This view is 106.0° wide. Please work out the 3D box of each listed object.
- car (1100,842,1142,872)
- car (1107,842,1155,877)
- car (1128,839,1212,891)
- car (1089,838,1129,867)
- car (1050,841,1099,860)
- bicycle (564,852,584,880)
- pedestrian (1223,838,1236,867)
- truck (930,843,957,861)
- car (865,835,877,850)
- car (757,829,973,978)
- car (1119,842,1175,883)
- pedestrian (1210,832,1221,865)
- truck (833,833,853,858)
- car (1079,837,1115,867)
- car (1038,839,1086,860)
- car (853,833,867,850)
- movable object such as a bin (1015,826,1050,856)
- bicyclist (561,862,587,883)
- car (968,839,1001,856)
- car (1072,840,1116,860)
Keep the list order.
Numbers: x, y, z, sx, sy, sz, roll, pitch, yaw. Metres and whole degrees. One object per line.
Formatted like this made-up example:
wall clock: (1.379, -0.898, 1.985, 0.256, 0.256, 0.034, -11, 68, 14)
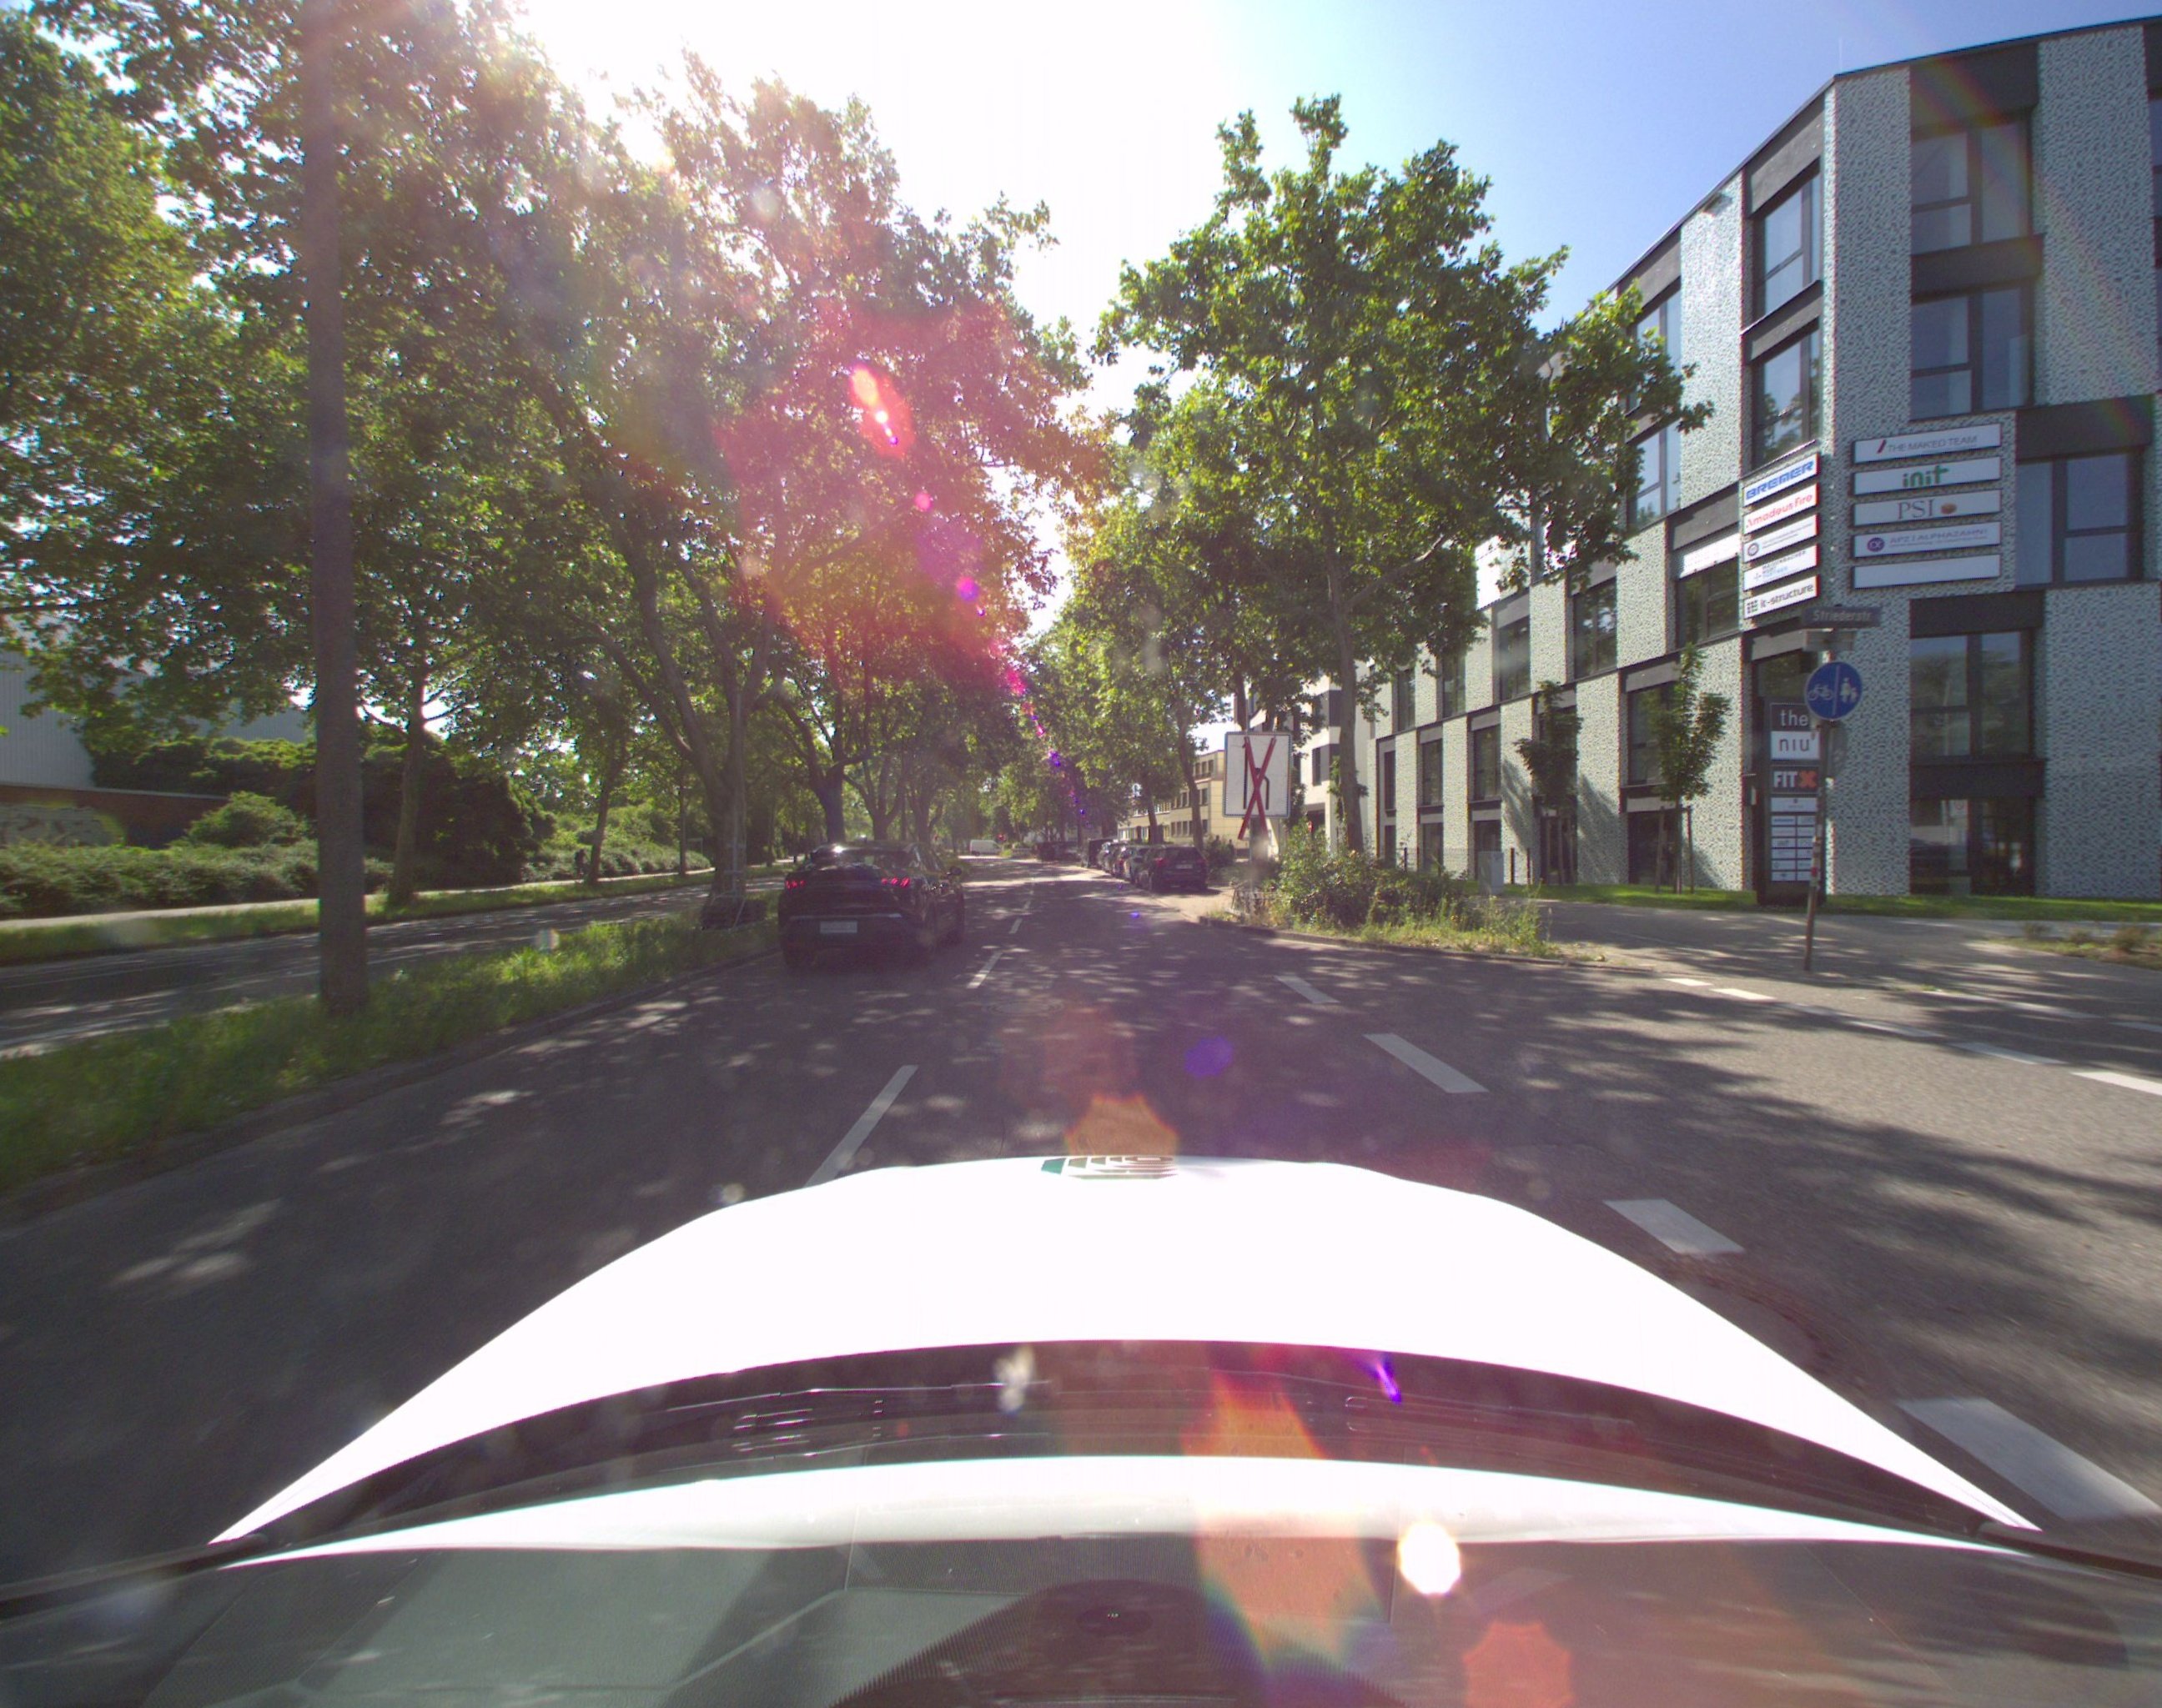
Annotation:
car: (2.100, 0.114, 43.689, 1.704, 1.487, 4.478, -1, 1, -4)
car: (2.222, 0.213, 37.240, 1.702, 1.455, 4.652, -1, 1, -2)
car: (2.791, 0.306, 26.590, 1.705, 1.487, 4.709, -2, 1, -6)
car: (1.632, -0.109, 48.887, 1.705, 1.669, 4.523, -1, 1, -7)
car: (-0.617, -0.349, 74.667, 4.117, 1.633, 1.699, -1, 1, -23)
bicycle: (-26.104, 0.618, 41.969, 0.427, 1.385, 0.954, -1, 0, -2)
pedestrian: (8.186, -0.108, 44.928, 0.612, 1.581, 0.569, -1, 0, -3)
truck: (-28.935, -0.450, 171.488, 5.524, 3.678, 1.994, -1, 0, -9)
car: (-47.445, -2.545, 184.133, 2.059, 3.434, 6.743, -1, 0, -11)
car: (-2.835, 0.555, 11.787, 1.866, 1.696, 4.435, -2, 1, 0)
car: (2.554, 0.298, 32.366, 1.702, 1.487, 4.098, -1, 1, -2)
pedestrian: (7.398, -0.319, 44.784, 0.475, 1.808, 0.636, -1, 0, -3)
truck: (-34.441, -1.296, 117.931, 2.454, 3.449, 7.063, 1, 1, -15)
car: (0.999, -0.171, 53.726, 1.705, 1.841, 4.715, -1, 1, -7)
car: (-1.818, -0.401, 76.349, 4.119, 1.879, 1.771, -1, 1, -25)
car: (-46.591, -2.692, 171.839, 2.453, 3.449, 7.068, 1, 1, -13)
movable object such as a bin: (-5.291, -1.388, 88.587, 2.344, 3.240, 3.396, -1, 1, -32)
bicyclist: (-26.101, 0.940, 41.942, 0.427, 1.013, 1.424, -1, 0, -2)
car: (-14.896, -1.057, 125.441, 4.983, 2.542, 1.993, -1, 0, -11)
car: (1.146, -0.339, 70.350, 3.552, 1.640, 1.653, -1, 0, -10)
